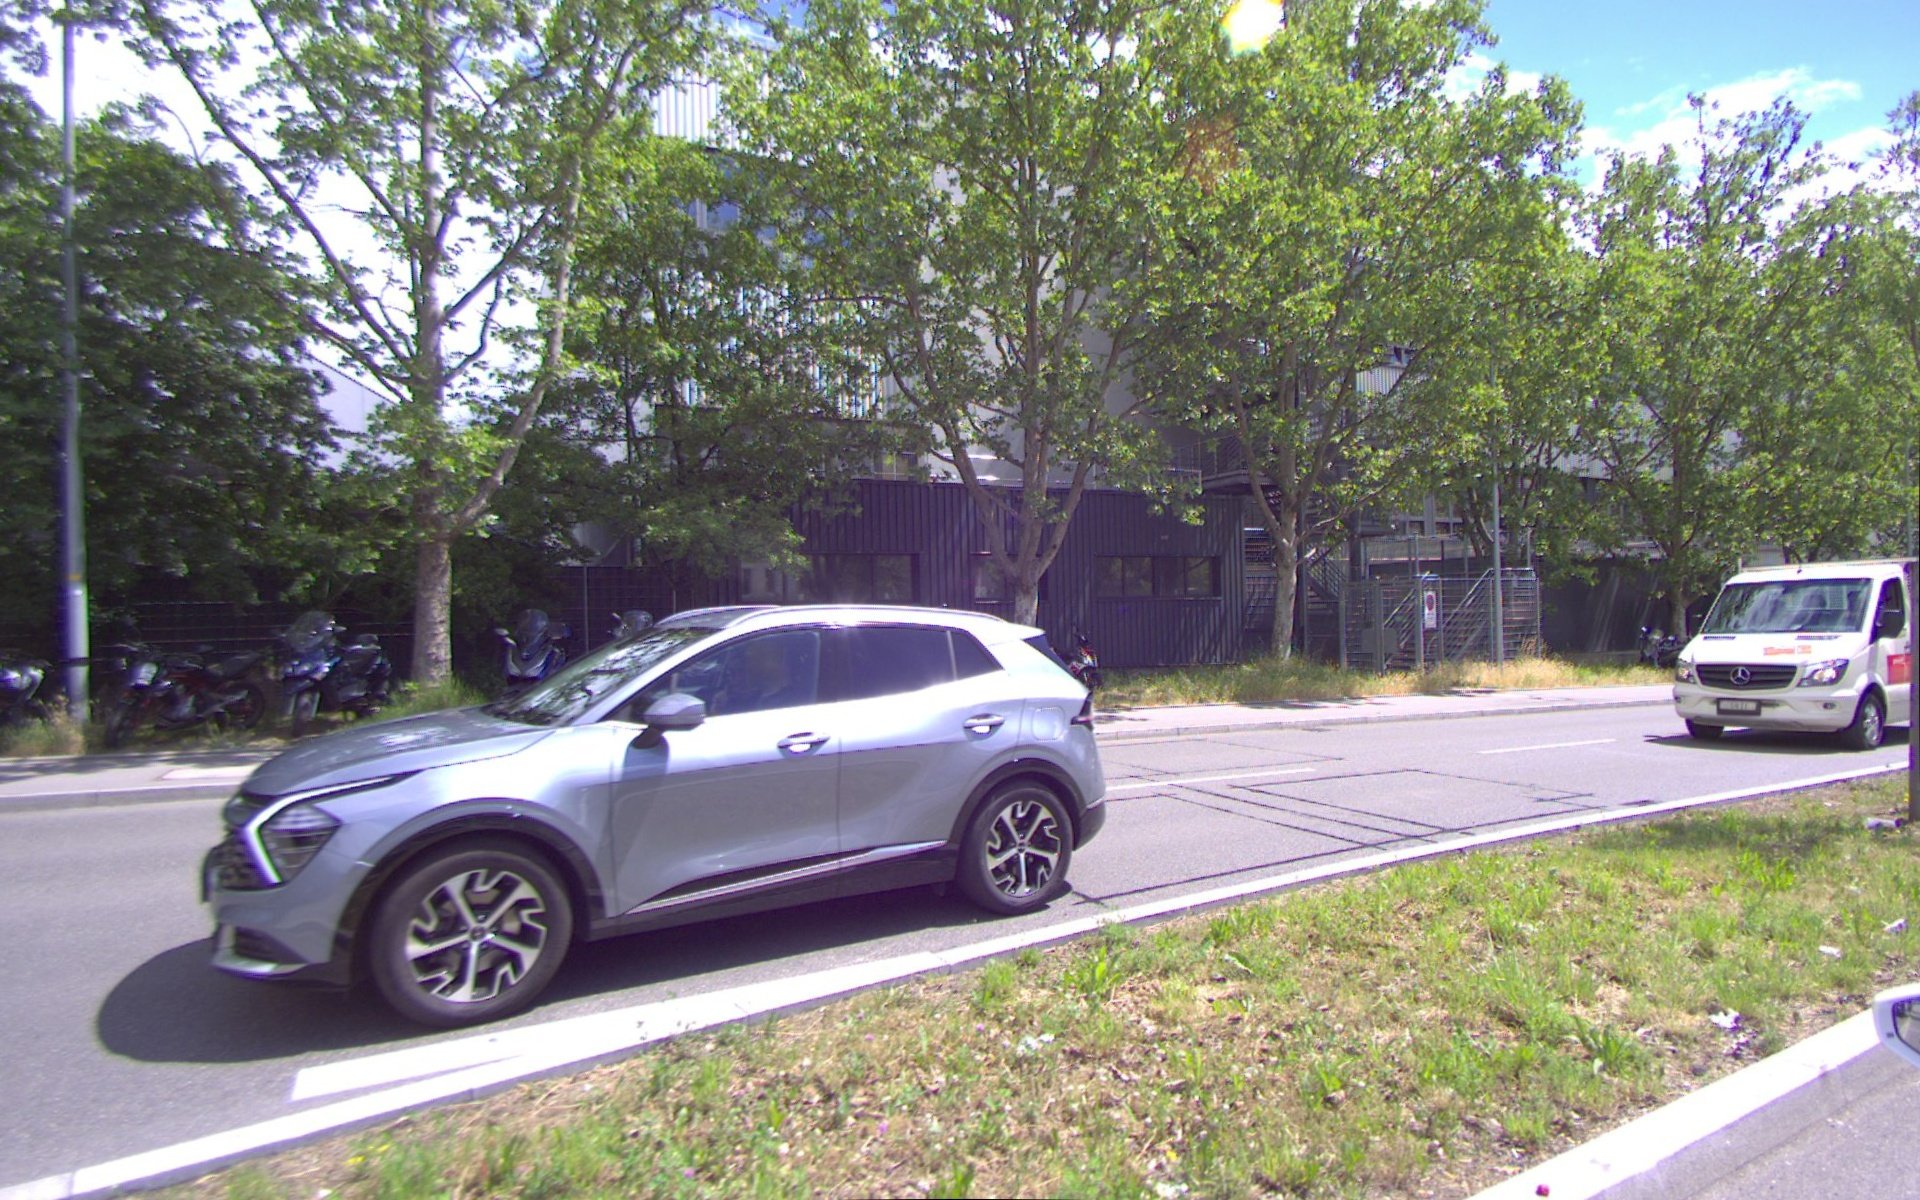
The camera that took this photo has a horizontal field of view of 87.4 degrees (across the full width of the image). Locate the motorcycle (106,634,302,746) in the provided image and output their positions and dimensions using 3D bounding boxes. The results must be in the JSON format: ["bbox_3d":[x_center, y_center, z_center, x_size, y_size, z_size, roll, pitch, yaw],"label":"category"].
[{"bbox_3d":[-8.923,1.019,11.982,0.903,1.131,1.937,0,1,-2],"label":"motorcycle"}]

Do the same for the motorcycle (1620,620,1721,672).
[{"bbox_3d":[19.230,1.219,27.238,0.797,1.326,2.123,1,-1,-31],"label":"motorcycle"}]

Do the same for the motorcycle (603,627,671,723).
[{"bbox_3d":[-4.600,1.024,14.409,0.801,1.195,1.878,0,1,-14],"label":"motorcycle"}]

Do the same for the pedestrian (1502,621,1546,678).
[{"bbox_3d":[15.958,1.394,28.423,0.808,1.572,0.753,1,-1,-20],"label":"pedestrian"}]

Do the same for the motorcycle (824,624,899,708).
[{"bbox_3d":[-1.666,1.051,16.697,0.646,1.226,1.872,-1,1,-25],"label":"motorcycle"}]

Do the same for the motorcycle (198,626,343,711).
[{"bbox_3d":[-10.384,0.997,15.230,0.903,1.131,1.937,0,1,-2],"label":"motorcycle"}]

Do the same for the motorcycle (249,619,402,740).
[{"bbox_3d":[-7.803,0.928,12.480,0.876,1.308,1.935,0,1,-9],"label":"motorcycle"}]

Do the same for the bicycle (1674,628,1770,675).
[{"bbox_3d":[22.519,1.509,29.731,0.797,1.299,2.123,1,-1,-31],"label":"bicycle"}]

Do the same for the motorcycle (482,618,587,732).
[{"bbox_3d":[-5.740,0.961,13.693,0.849,1.362,1.935,0,1,-9],"label":"motorcycle"}]

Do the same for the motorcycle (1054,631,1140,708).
[{"bbox_3d":[2.400,1.188,17.836,0.734,1.189,1.875,0,1,-20],"label":"motorcycle"}]

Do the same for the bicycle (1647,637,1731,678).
[{"bbox_3d":[20.612,1.615,28.444,0.417,1.089,1.914,1,-1,-30],"label":"bicycle"}]

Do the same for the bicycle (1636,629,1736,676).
[{"bbox_3d":[20.099,1.427,27.845,0.797,1.196,2.123,1,-1,-31],"label":"bicycle"}]

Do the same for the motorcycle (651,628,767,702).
[{"bbox_3d":[-4.574,1.167,18.332,1.956,1.226,0.651,-1,2,-26],"label":"motorcycle"}]

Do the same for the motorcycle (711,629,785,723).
[{"bbox_3d":[-3.159,1.079,14.837,0.802,1.195,1.875,0,1,-20],"label":"motorcycle"}]

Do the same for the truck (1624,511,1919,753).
[{"bbox_3d":[12.460,0.441,14.250,6.381,2.787,2.468,1,-2,-30],"label":"truck"}]

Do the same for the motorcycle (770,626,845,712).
[{"bbox_3d":[-2.478,1.069,16.165,0.689,1.195,1.872,-1,1,-25],"label":"motorcycle"}]

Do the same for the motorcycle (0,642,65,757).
[{"bbox_3d":[-10.138,1.025,10.622,0.914,1.130,1.916,3,-5,-40],"label":"motorcycle"}]

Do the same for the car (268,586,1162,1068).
[{"bbox_3d":[-1.110,0.824,5.431,4.247,1.652,1.894,1,-1,-34],"label":"car"}]
